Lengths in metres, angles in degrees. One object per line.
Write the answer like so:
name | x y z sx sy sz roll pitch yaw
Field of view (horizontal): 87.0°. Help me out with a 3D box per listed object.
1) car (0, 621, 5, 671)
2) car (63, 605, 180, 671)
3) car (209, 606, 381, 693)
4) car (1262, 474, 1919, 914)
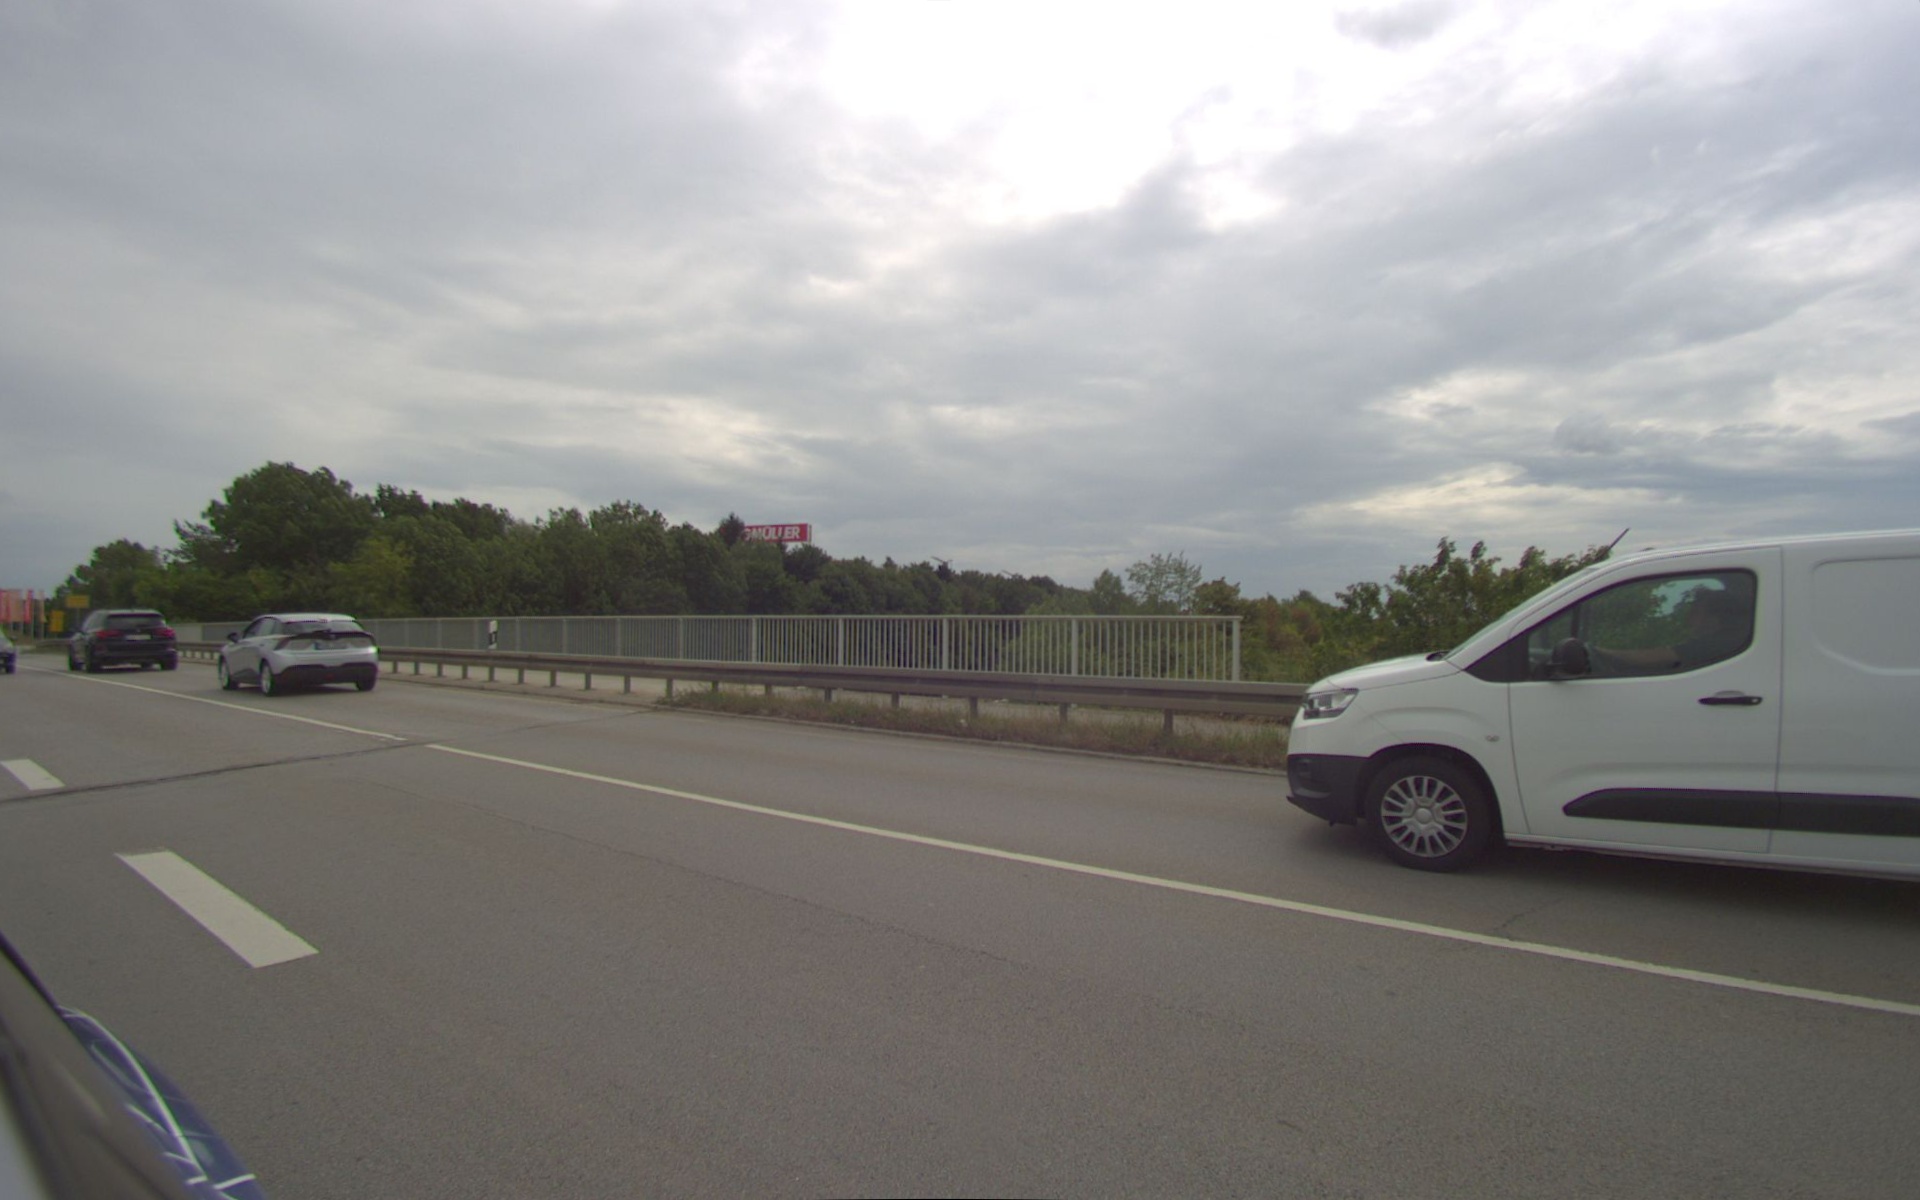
car | -28.249 1.300 28.540 3.822 1.364 1.559 -1 -1 41
car | -24.237 1.033 29.185 4.761 1.745 1.972 -1 0 43
car | -13.048 0.897 19.753 4.276 1.498 1.694 -1 0 41
car | 4.291 0.406 5.382 4.805 1.889 1.938 -1 0 33
